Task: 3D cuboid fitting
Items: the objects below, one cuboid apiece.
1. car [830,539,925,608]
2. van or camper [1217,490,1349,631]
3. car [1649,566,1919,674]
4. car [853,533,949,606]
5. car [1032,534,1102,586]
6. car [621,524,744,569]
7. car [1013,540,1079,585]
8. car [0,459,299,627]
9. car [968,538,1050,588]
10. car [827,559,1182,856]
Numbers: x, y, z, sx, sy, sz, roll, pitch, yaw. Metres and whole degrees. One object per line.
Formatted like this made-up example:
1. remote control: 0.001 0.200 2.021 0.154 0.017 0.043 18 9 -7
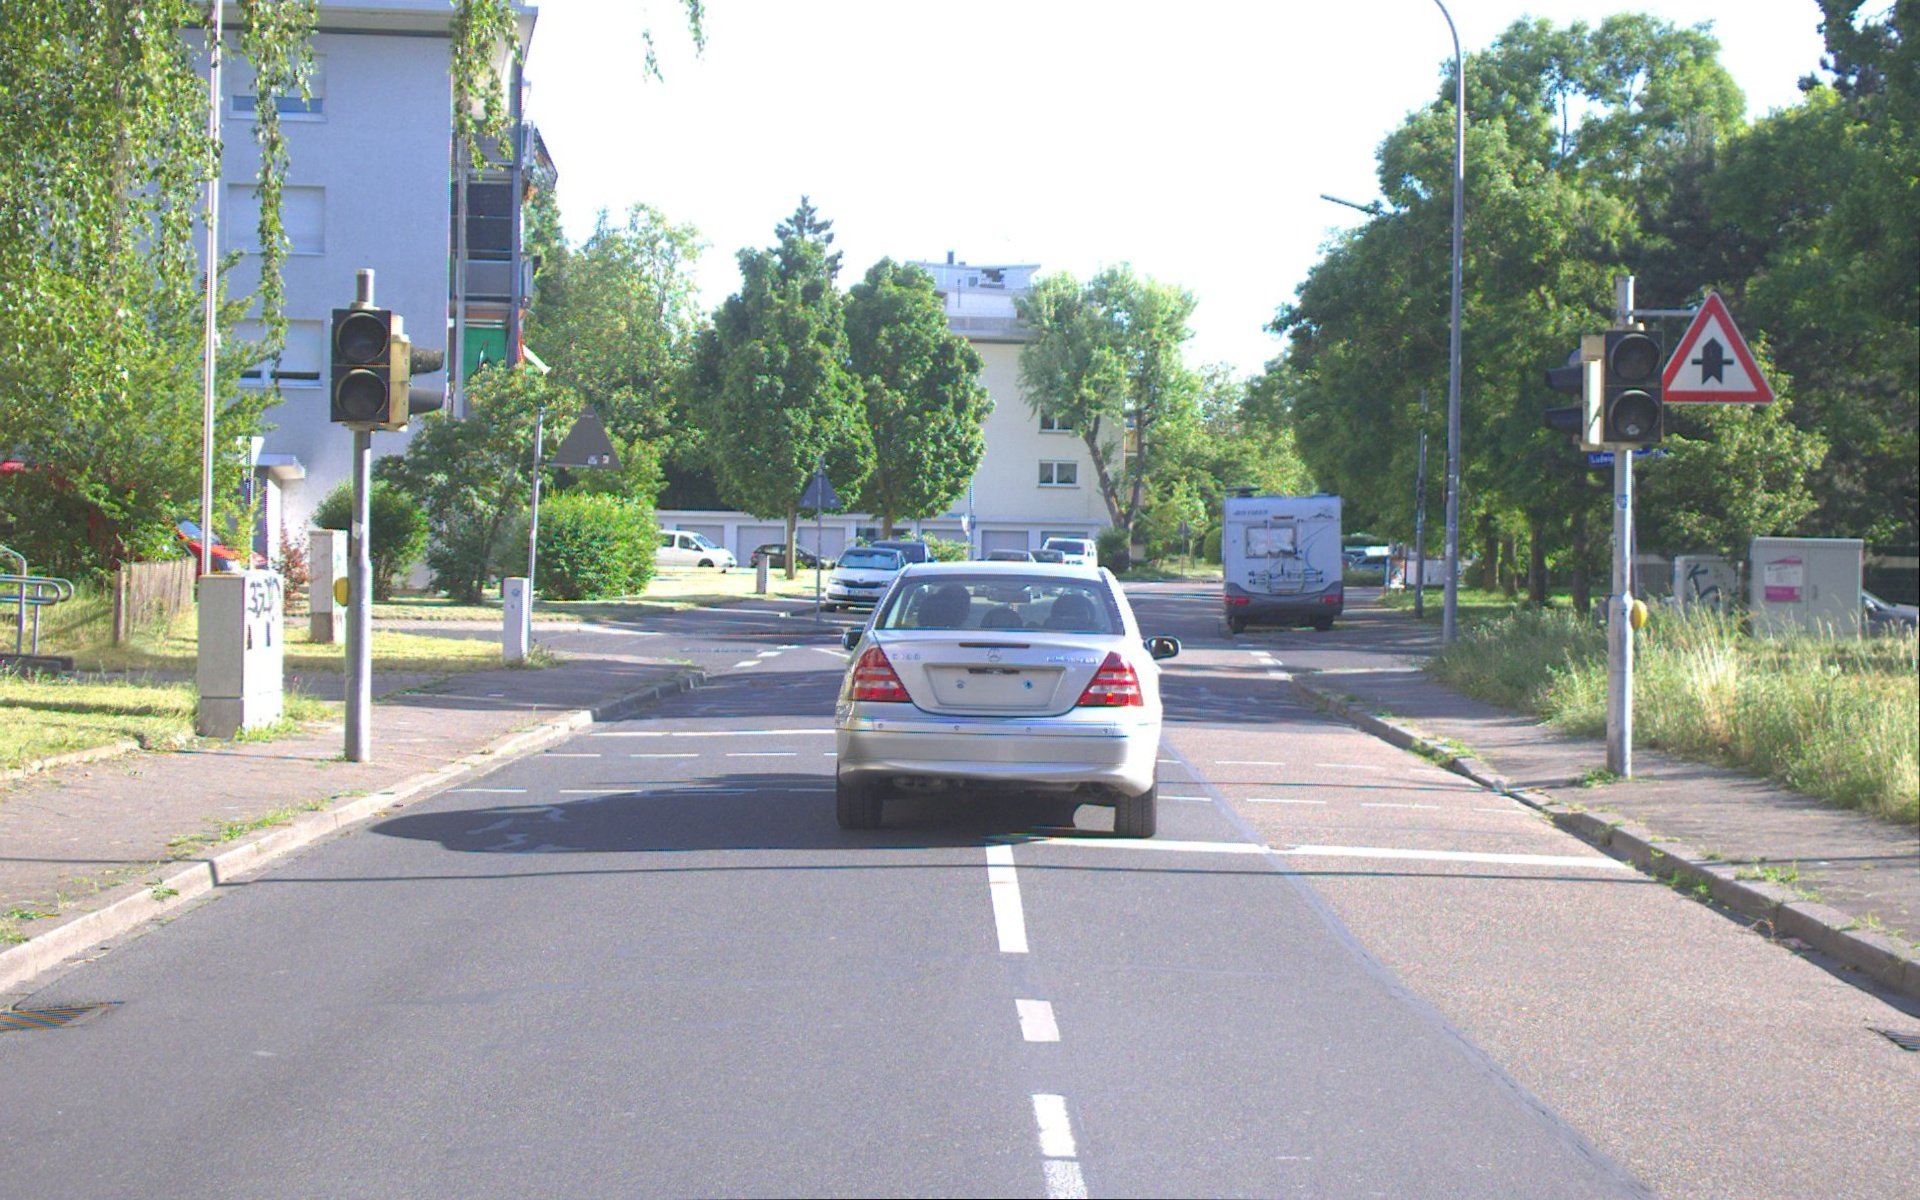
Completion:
1. car: -1.835 -0.612 77.726 1.647 1.461 4.330 2 1 5
2. van or camper: 6.338 -0.796 68.145 2.352 2.587 6.425 -2 1 4
3. car: 12.198 0.286 49.166 4.426 1.333 1.746 2 3 7
4. car: -1.409 -0.765 83.999 1.914 1.598 4.812 4 1 3
5. car: 4.118 -1.530 131.781 2.015 1.879 5.189 3 1 8
6. car: -12.613 -2.443 156.524 5.109 1.944 2.236 1 1 15
7. car: 3.160 -1.352 125.280 1.834 1.513 4.220 3 1 8
8. car: -13.022 -0.882 51.155 5.905 2.420 2.213 0 2 2
9. car: 1.643 -1.227 112.627 2.035 1.487 5.255 4 1 7
10. car: 0.232 0.509 18.724 1.733 1.429 3.438 1 1 0
